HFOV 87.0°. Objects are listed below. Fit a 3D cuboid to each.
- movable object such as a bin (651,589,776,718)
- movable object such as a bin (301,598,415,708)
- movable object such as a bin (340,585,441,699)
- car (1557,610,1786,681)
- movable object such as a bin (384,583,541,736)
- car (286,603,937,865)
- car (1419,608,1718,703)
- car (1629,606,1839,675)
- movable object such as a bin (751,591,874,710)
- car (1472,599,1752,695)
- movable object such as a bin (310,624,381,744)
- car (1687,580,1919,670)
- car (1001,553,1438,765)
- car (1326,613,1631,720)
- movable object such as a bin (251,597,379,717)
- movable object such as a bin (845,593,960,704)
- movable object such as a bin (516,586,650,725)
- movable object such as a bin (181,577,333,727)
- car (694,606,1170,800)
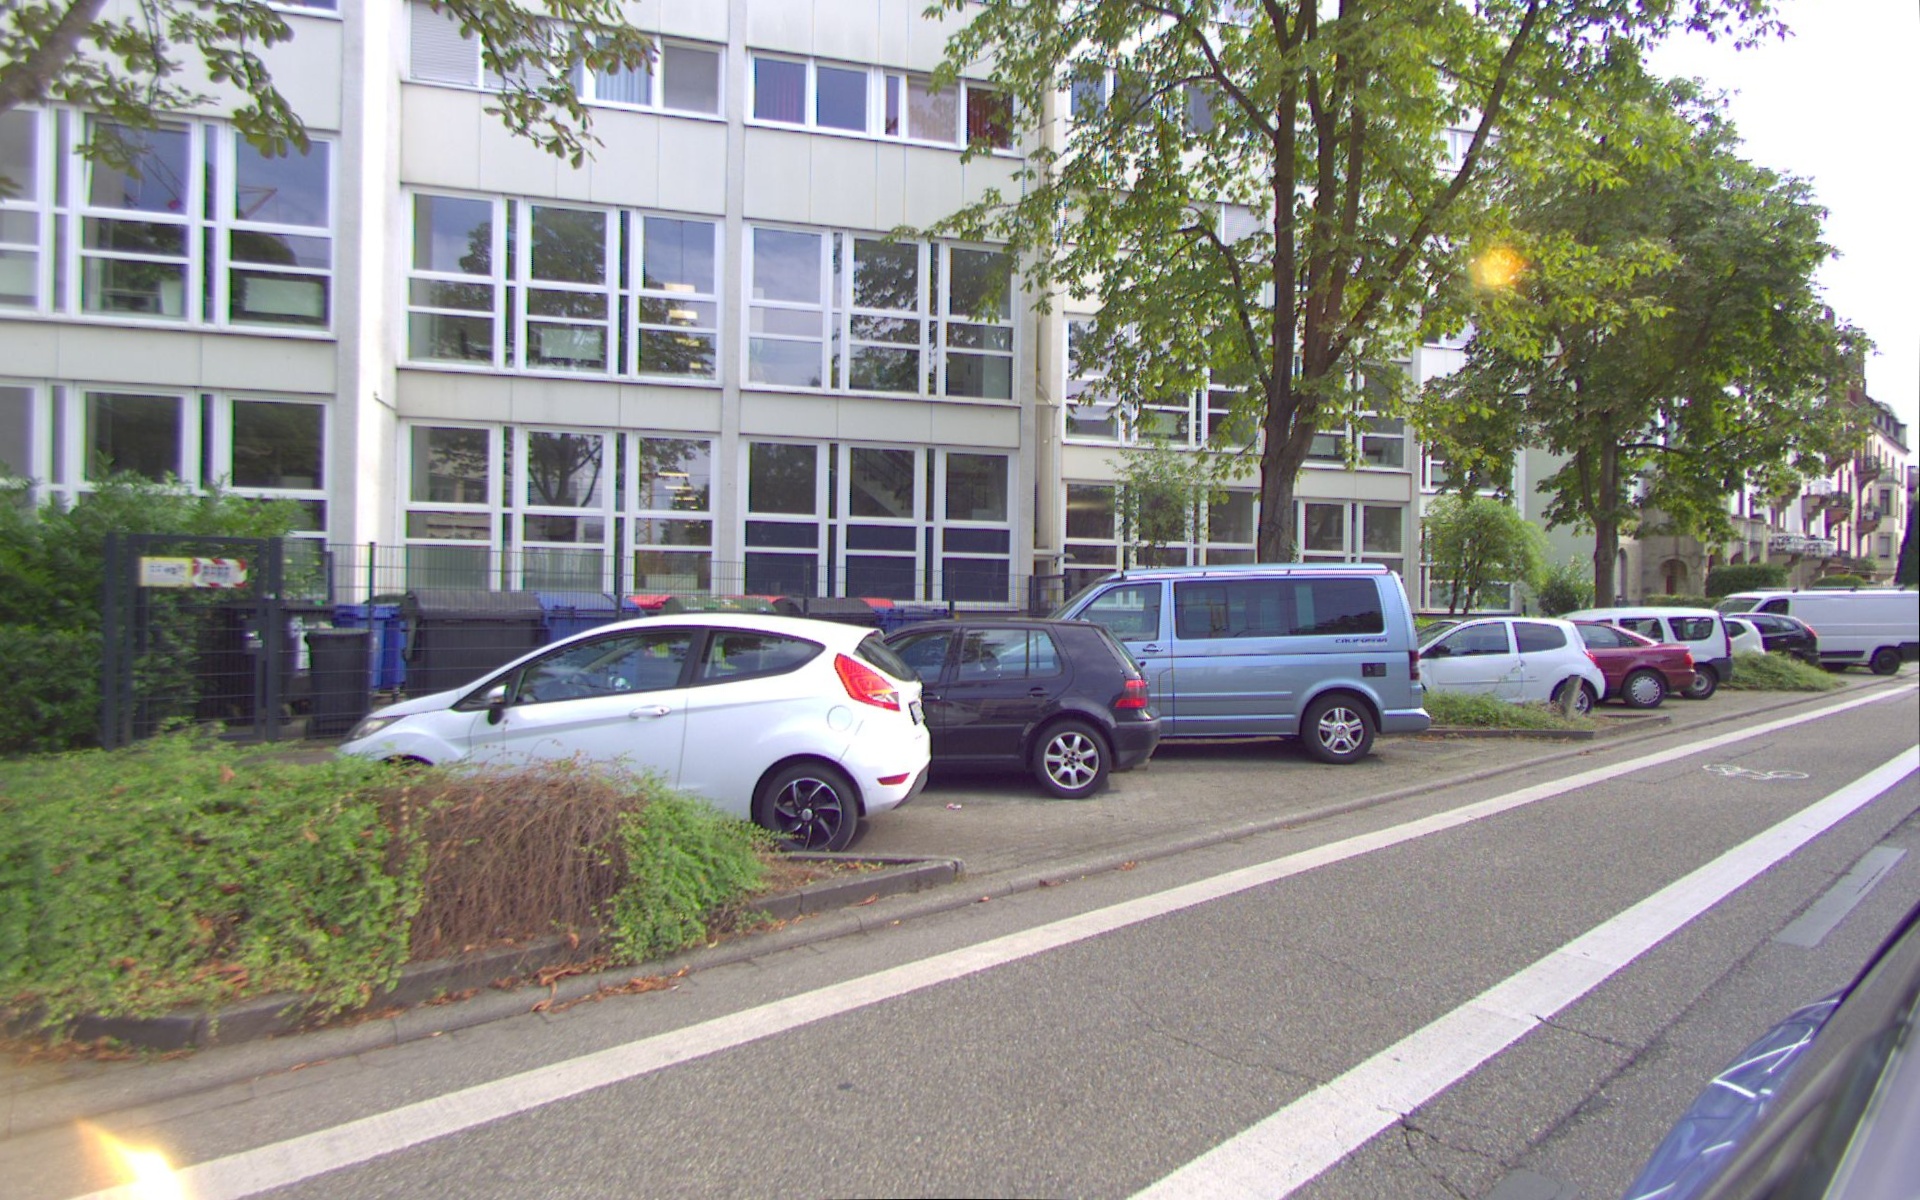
[{"bbox_3d":[-3.121,0.640,12.812,1.192,1.527,1.071,1,-1,-39],"label":"movable object such as a bin"},{"bbox_3d":[-7.984,0.680,13.475,1.056,1.385,1.037,1,-1,-16],"label":"movable object such as a bin"},{"bbox_3d":[-8.296,0.595,14.797,1.056,1.582,1.037,1,-1,-16],"label":"movable object such as a bin"},{"bbox_3d":[16.399,1.017,23.495,4.020,1.530,1.687,0,0,6],"label":"car"},{"bbox_3d":[-5.378,0.607,10.945,1.310,1.527,1.071,1,-1,-39],"label":"movable object such as a bin"},{"bbox_3d":[-2.085,0.769,6.720,3.759,1.478,1.639,0,0,4],"label":"car"},{"bbox_3d":[10.020,0.872,16.949,3.909,1.451,1.685,0,0,8],"label":"car"},{"bbox_3d":[19.444,0.987,25.568,3.891,1.669,1.687,0,0,6],"label":"car"},{"bbox_3d":[-2.005,0.657,13.765,1.299,1.527,1.071,1,-1,-39],"label":"movable object such as a bin"},{"bbox_3d":[12.025,0.828,18.876,4.036,1.689,1.687,0,0,5],"label":"car"},{"bbox_3d":[-6.028,0.796,9.944,0.561,1.117,0.653,1,-1,-31],"label":"movable object such as a bin"},{"bbox_3d":[23.287,0.647,27.736,4.875,2.319,2.380,0,0,8],"label":"car"},{"bbox_3d":[2.577,0.560,10.840,4.200,2.040,1.829,0,0,6],"label":"car"},{"bbox_3d":[7.562,0.931,15.074,3.651,1.451,1.687,0,0,6],"label":"car"},{"bbox_3d":[-7.846,0.668,12.379,1.056,1.385,1.037,1,-1,-16],"label":"movable object such as a bin"},{"bbox_3d":[-0.841,0.676,14.786,1.299,1.527,1.071,1,-1,-39],"label":"movable object such as a bin"},{"bbox_3d":[-4.448,0.623,11.927,1.192,1.527,1.071,1,-1,-39],"label":"movable object such as a bin"},{"bbox_3d":[-7.700,0.546,11.160,1.056,1.543,1.121,1,-1,-16],"label":"movable object such as a bin"},{"bbox_3d":[-0.206,0.803,8.808,3.759,1.478,1.675,0,0,4],"label":"car"}]
